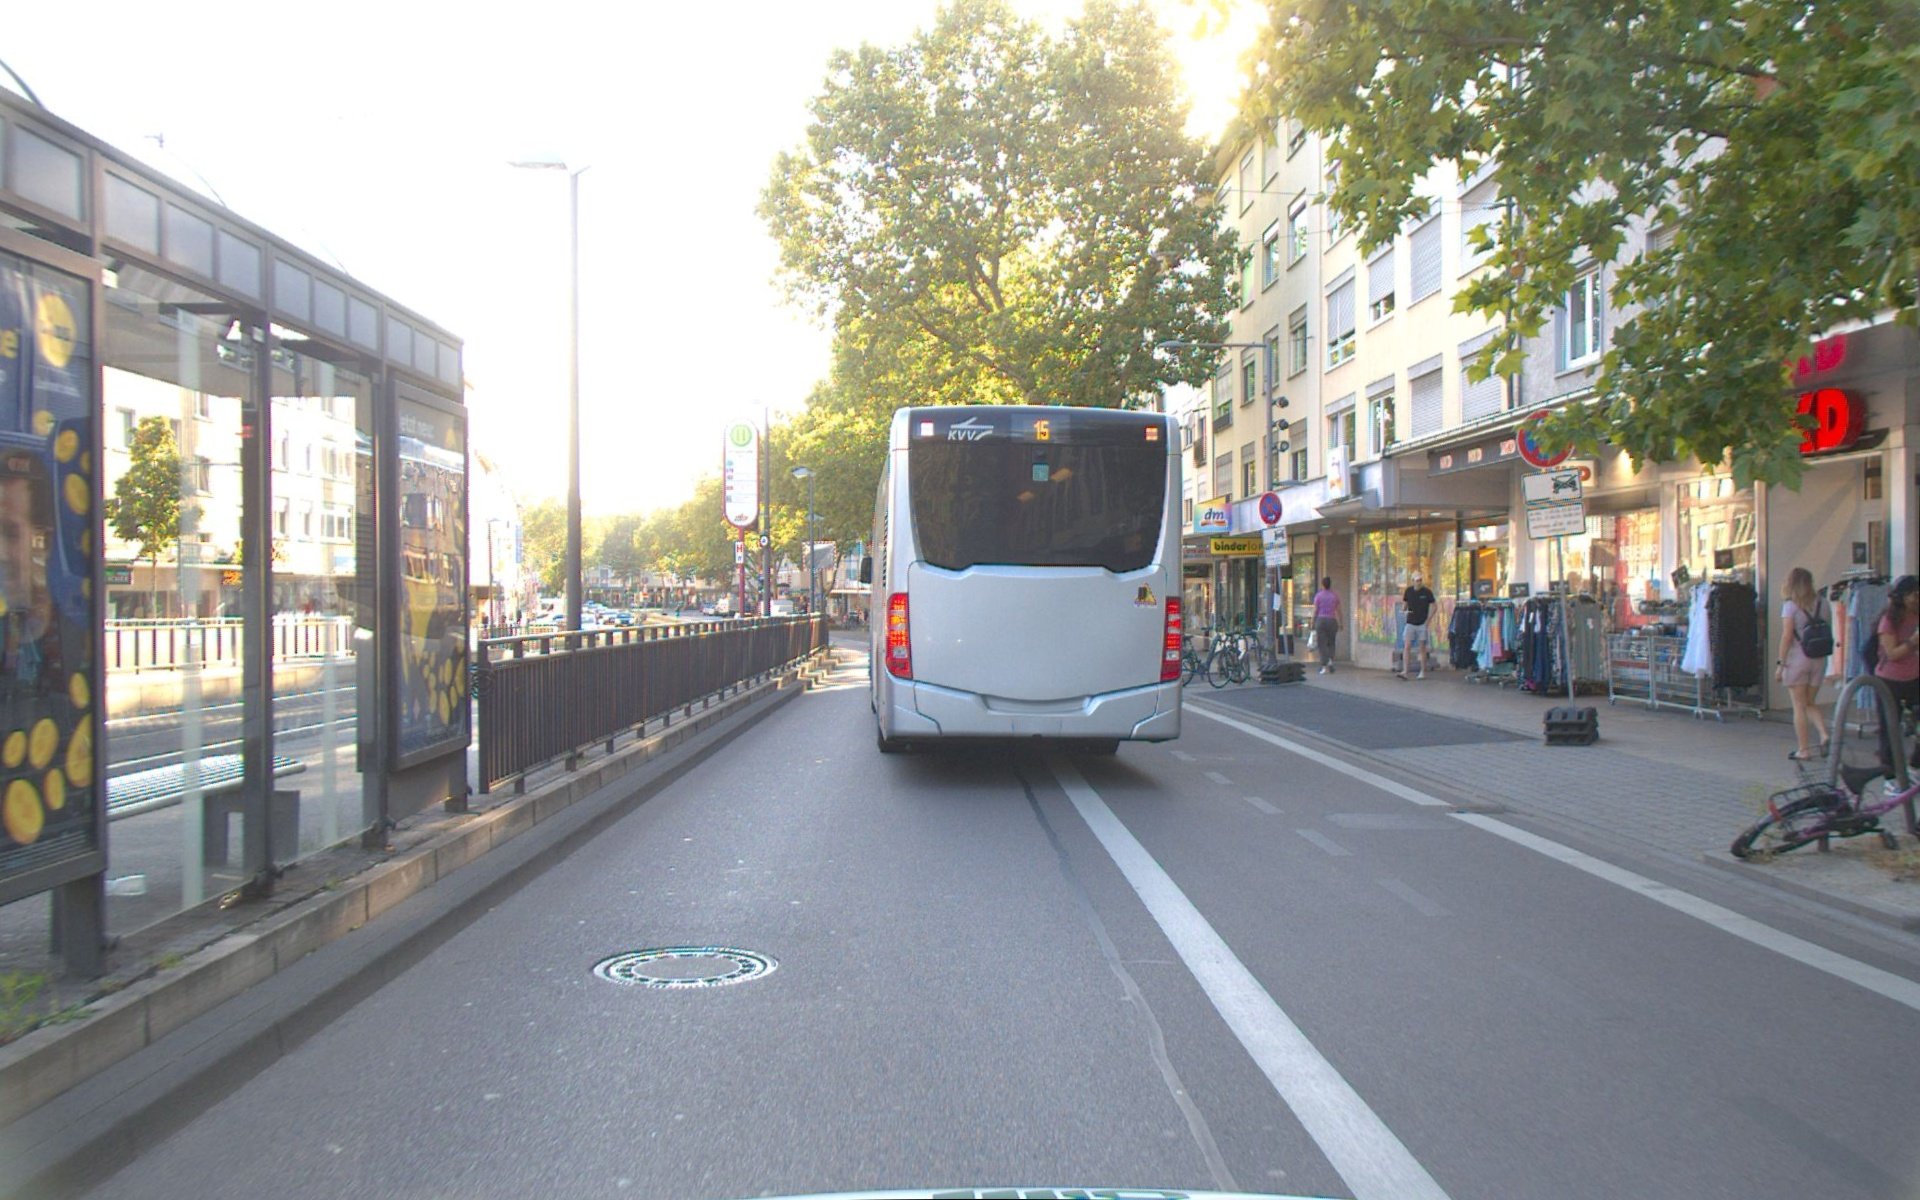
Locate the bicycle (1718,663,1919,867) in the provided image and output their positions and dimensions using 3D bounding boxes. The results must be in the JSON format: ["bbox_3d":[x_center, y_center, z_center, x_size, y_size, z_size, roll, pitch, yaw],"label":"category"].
[{"bbox_3d":[5.432,0.897,9.607,1.766,0.637,0.935,-5,-34,-32],"label":"bicycle"}]

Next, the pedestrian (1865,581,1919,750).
[{"bbox_3d":[8.217,0.548,14.254,0.465,1.419,0.611,-1,0,-1],"label":"pedestrian"}]

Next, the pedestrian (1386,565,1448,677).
[{"bbox_3d":[7.768,0.357,28.155,0.709,1.826,0.766,-4,0,-1],"label":"pedestrian"}]

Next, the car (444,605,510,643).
[{"bbox_3d":[-22.546,1.097,77.366,1.953,1.680,3.999,-1,0,-1],"label":"car"}]

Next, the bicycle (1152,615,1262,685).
[{"bbox_3d":[4.545,0.918,30.543,1.848,1.096,0.754,-5,0,2],"label":"bicycle"}]

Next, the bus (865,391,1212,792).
[{"bbox_3d":[0.370,-0.084,17.877,2.643,3.172,9.373,0,0,-4],"label":"bus"}]

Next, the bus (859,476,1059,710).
[{"bbox_3d":[-0.285,-0.115,27.053,2.643,3.172,9.062,0,0,-4],"label":"bus"}]

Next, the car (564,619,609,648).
[{"bbox_3d":[-23.365,2.062,103.583,1.953,1.680,3.999,-1,0,-1],"label":"car"}]

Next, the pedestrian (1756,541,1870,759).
[{"bbox_3d":[7.403,0.423,14.376,0.553,1.827,0.766,-1,0,-1],"label":"pedestrian"}]

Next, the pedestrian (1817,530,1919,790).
[{"bbox_3d":[6.808,0.418,12.032,0.709,1.827,0.766,-1,0,-1],"label":"pedestrian"}]

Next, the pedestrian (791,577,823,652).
[{"bbox_3d":[-5.333,0.493,57.813,0.870,2.591,1.164,-1,0,6],"label":"pedestrian"}]

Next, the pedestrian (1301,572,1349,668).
[{"bbox_3d":[7.013,0.380,31.820,0.709,1.827,0.766,-1,0,-1],"label":"pedestrian"}]

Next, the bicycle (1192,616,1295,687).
[{"bbox_3d":[5.080,0.910,29.652,1.678,1.096,0.589,-5,0,-19],"label":"bicycle"}]
